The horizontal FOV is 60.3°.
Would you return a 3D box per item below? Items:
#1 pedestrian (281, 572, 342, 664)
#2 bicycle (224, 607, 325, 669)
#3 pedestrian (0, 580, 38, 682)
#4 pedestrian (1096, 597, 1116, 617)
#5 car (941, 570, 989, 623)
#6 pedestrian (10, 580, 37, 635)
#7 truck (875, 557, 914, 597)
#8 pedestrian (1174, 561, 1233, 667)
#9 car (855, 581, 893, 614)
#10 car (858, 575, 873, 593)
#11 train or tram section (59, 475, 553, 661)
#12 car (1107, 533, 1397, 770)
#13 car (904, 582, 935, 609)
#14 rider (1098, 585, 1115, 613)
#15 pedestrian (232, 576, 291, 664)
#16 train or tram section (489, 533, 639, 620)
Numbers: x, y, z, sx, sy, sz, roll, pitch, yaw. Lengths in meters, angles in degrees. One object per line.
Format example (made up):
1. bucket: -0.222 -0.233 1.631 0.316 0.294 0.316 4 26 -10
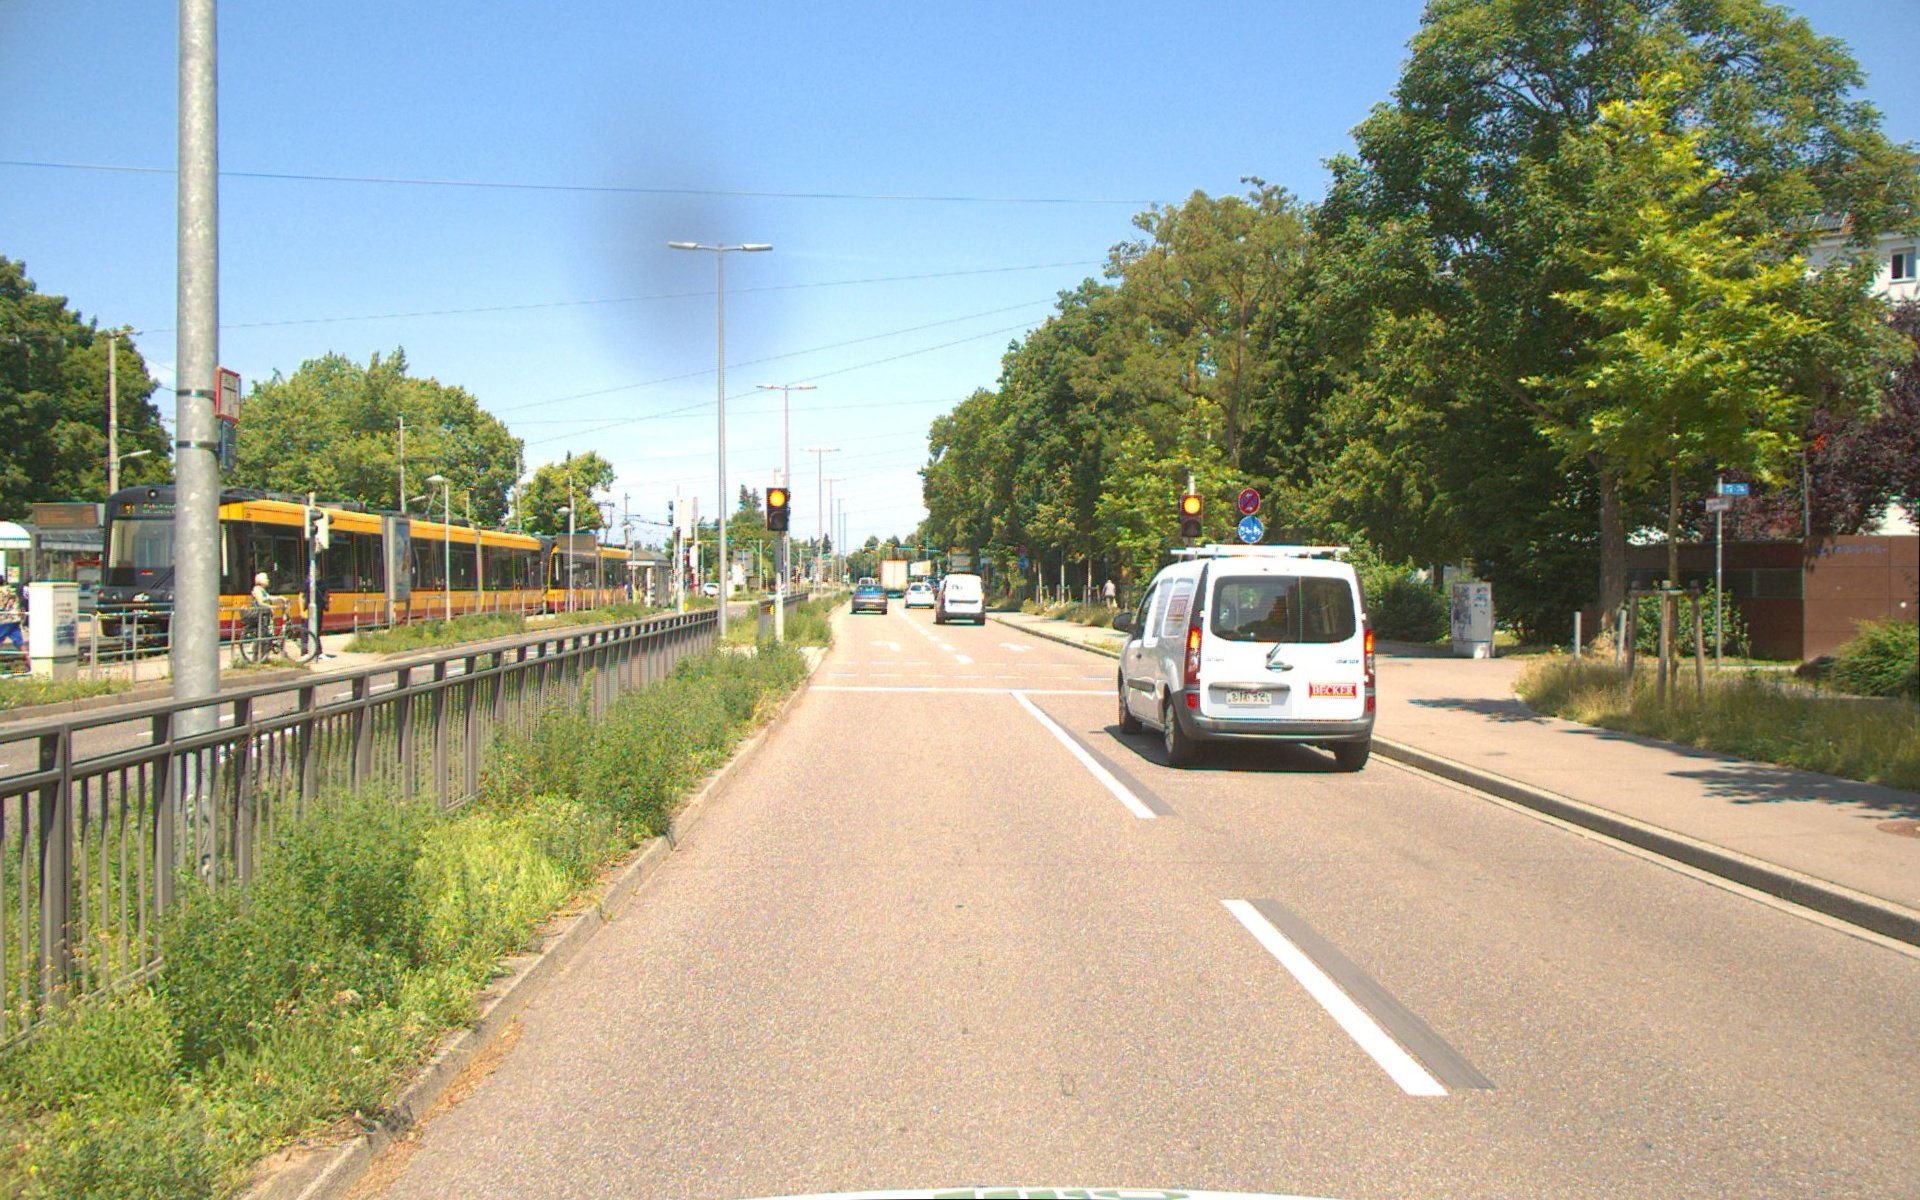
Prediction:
1. pedestrian: -13.108 0.354 33.453 0.939 1.828 0.705 0 0 26
2. bicycle: -13.023 0.721 31.441 1.824 1.177 0.243 0 0 2
3. pedestrian: -14.942 0.474 25.995 0.854 1.568 0.534 0 1 43
4. pedestrian: 6.622 0.319 74.920 0.664 0.862 1.772 0 0 -3
5. car: 0.225 -0.166 61.361 1.692 1.845 4.001 1 1 1
6. pedestrian: -25.293 0.196 44.685 0.452 1.461 0.524 0 0 -5
7. truck: -6.751 -2.343 168.966 3.822 3.879 10.786 0 1 -3
8. pedestrian: 4.423 0.247 30.043 1.024 1.882 0.758 1 0 10
9. car: -4.071 -0.131 79.035 1.765 1.512 3.998 0 1 -2
10. car: -10.612 -1.811 185.058 1.654 1.930 3.868 0 1 -3
11. train or tram section: -17.777 -0.819 52.064 2.732 3.732 37.495 0 1 -3
12. car: 2.599 0.402 15.785 1.787 1.914 4.454 1 1 -2
13. car: -2.458 -0.281 99.478 1.767 1.566 3.997 0 0 -4
14. rider: 6.637 -0.048 74.859 0.664 1.304 0.533 0 0 -4
15. pedestrian: -13.335 0.373 31.576 0.802 1.657 0.705 0 0 2
16. train or tram section: -19.467 -1.116 83.748 2.732 3.732 25.983 0 1 -3
